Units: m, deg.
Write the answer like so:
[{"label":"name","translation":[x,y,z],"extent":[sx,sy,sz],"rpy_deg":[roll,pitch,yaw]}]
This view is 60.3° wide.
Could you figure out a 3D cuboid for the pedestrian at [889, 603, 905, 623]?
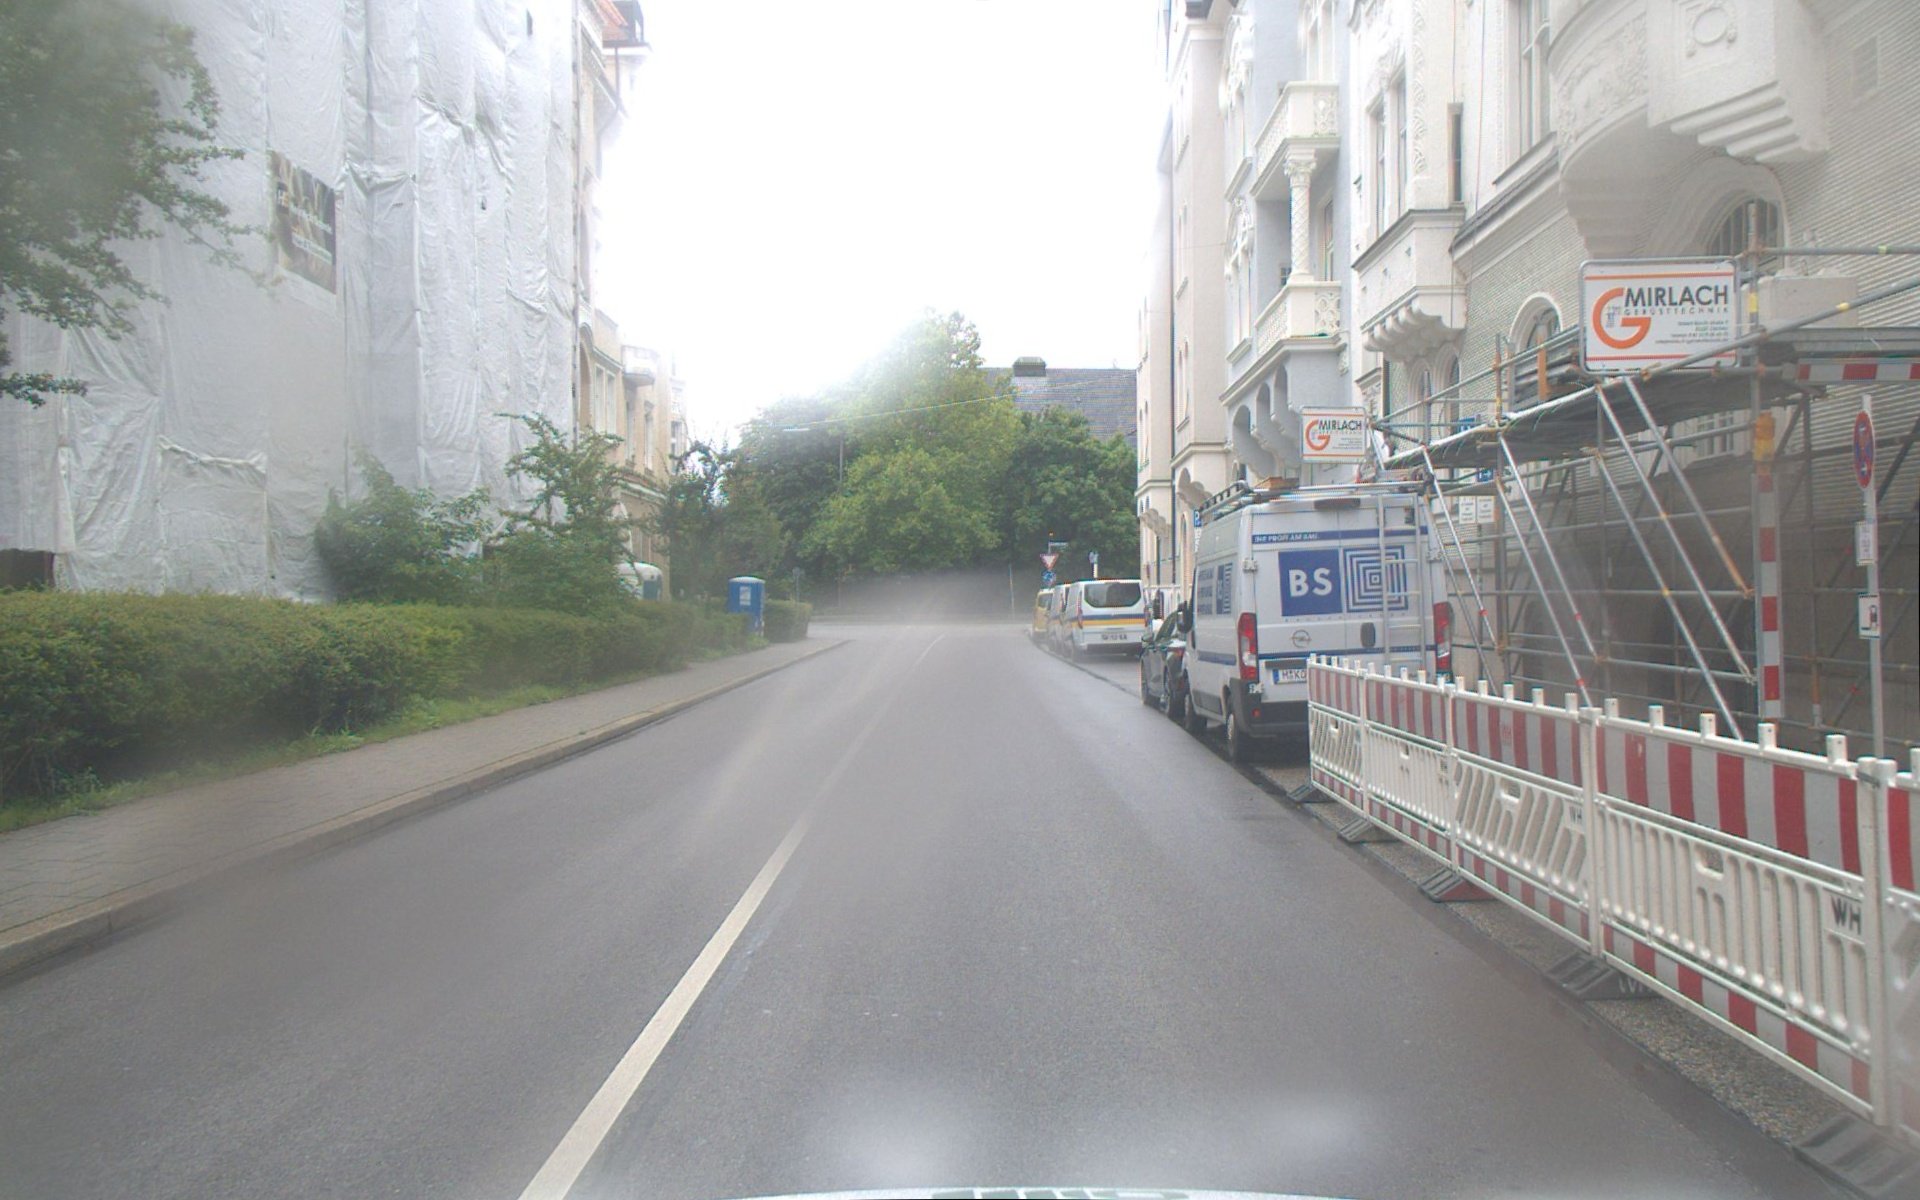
[{"label":"pedestrian","translation":[-3.844,0.766,101.015],"extent":[0.794,1.210,0.920],"rpy_deg":[-1,0,6]}]

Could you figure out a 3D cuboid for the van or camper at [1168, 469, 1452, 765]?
[{"label":"van or camper","translation":[3.549,0.163,17.877],"extent":[1.913,2.683,5.458],"rpy_deg":[-1,0,0]}]

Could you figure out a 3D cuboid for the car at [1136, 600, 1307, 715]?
[{"label":"car","translation":[3.621,0.749,23.571],"extent":[1.718,1.459,4.086],"rpy_deg":[-1,0,-1]}]

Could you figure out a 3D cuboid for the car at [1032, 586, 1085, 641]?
[{"label":"car","translation":[3.568,0.470,59.924],"extent":[1.811,1.885,4.823],"rpy_deg":[-1,0,3]}]

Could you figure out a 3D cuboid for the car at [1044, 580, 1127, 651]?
[{"label":"car","translation":[3.630,0.430,48.658],"extent":[1.920,1.971,4.991],"rpy_deg":[-1,0,-1]}]

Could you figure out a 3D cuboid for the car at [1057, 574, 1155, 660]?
[{"label":"car","translation":[3.686,0.399,42.538],"extent":[1.920,2.049,4.991],"rpy_deg":[-1,0,-1]}]

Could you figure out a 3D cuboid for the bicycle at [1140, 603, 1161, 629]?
[{"label":"bicycle","translation":[8.564,0.705,74.306],"extent":[0.680,1.113,2.283],"rpy_deg":[-3,0,1]}]
